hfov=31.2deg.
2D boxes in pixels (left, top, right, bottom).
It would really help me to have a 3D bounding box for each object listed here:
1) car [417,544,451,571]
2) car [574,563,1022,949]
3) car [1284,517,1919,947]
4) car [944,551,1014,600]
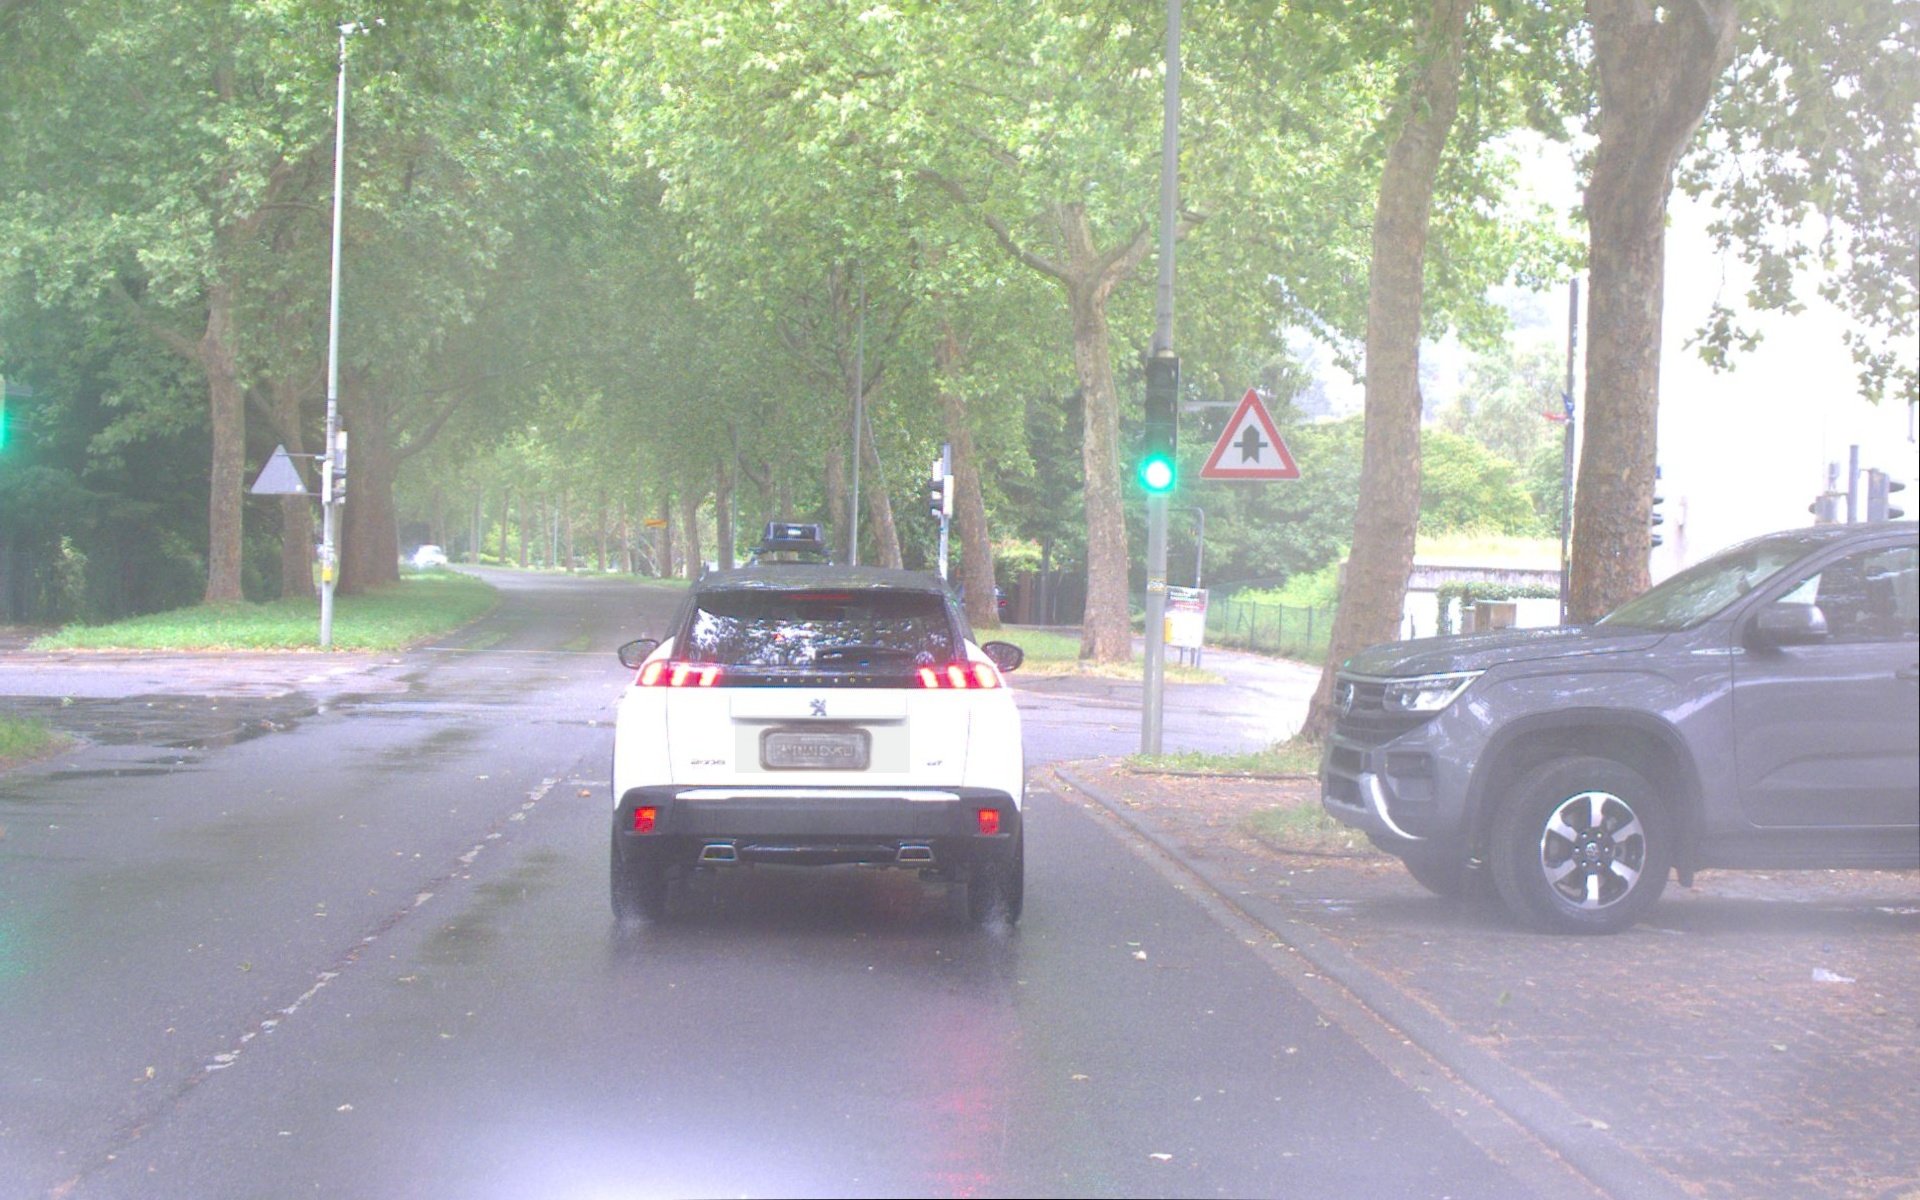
[{"bbox_3d":[-34.241,-2.768,223.797,1.873,1.671,3.709,2,1,-5],"label":"car"},{"bbox_3d":[-0.691,0.625,15.927,1.780,1.531,4.057,1,0,-1],"label":"car"},{"bbox_3d":[4.299,0.561,15.630,5.337,1.800,1.846,0,1,-7],"label":"car"},{"bbox_3d":[0.589,-0.802,111.504,1.905,1.505,3.932,2,1,-5],"label":"car"}]
